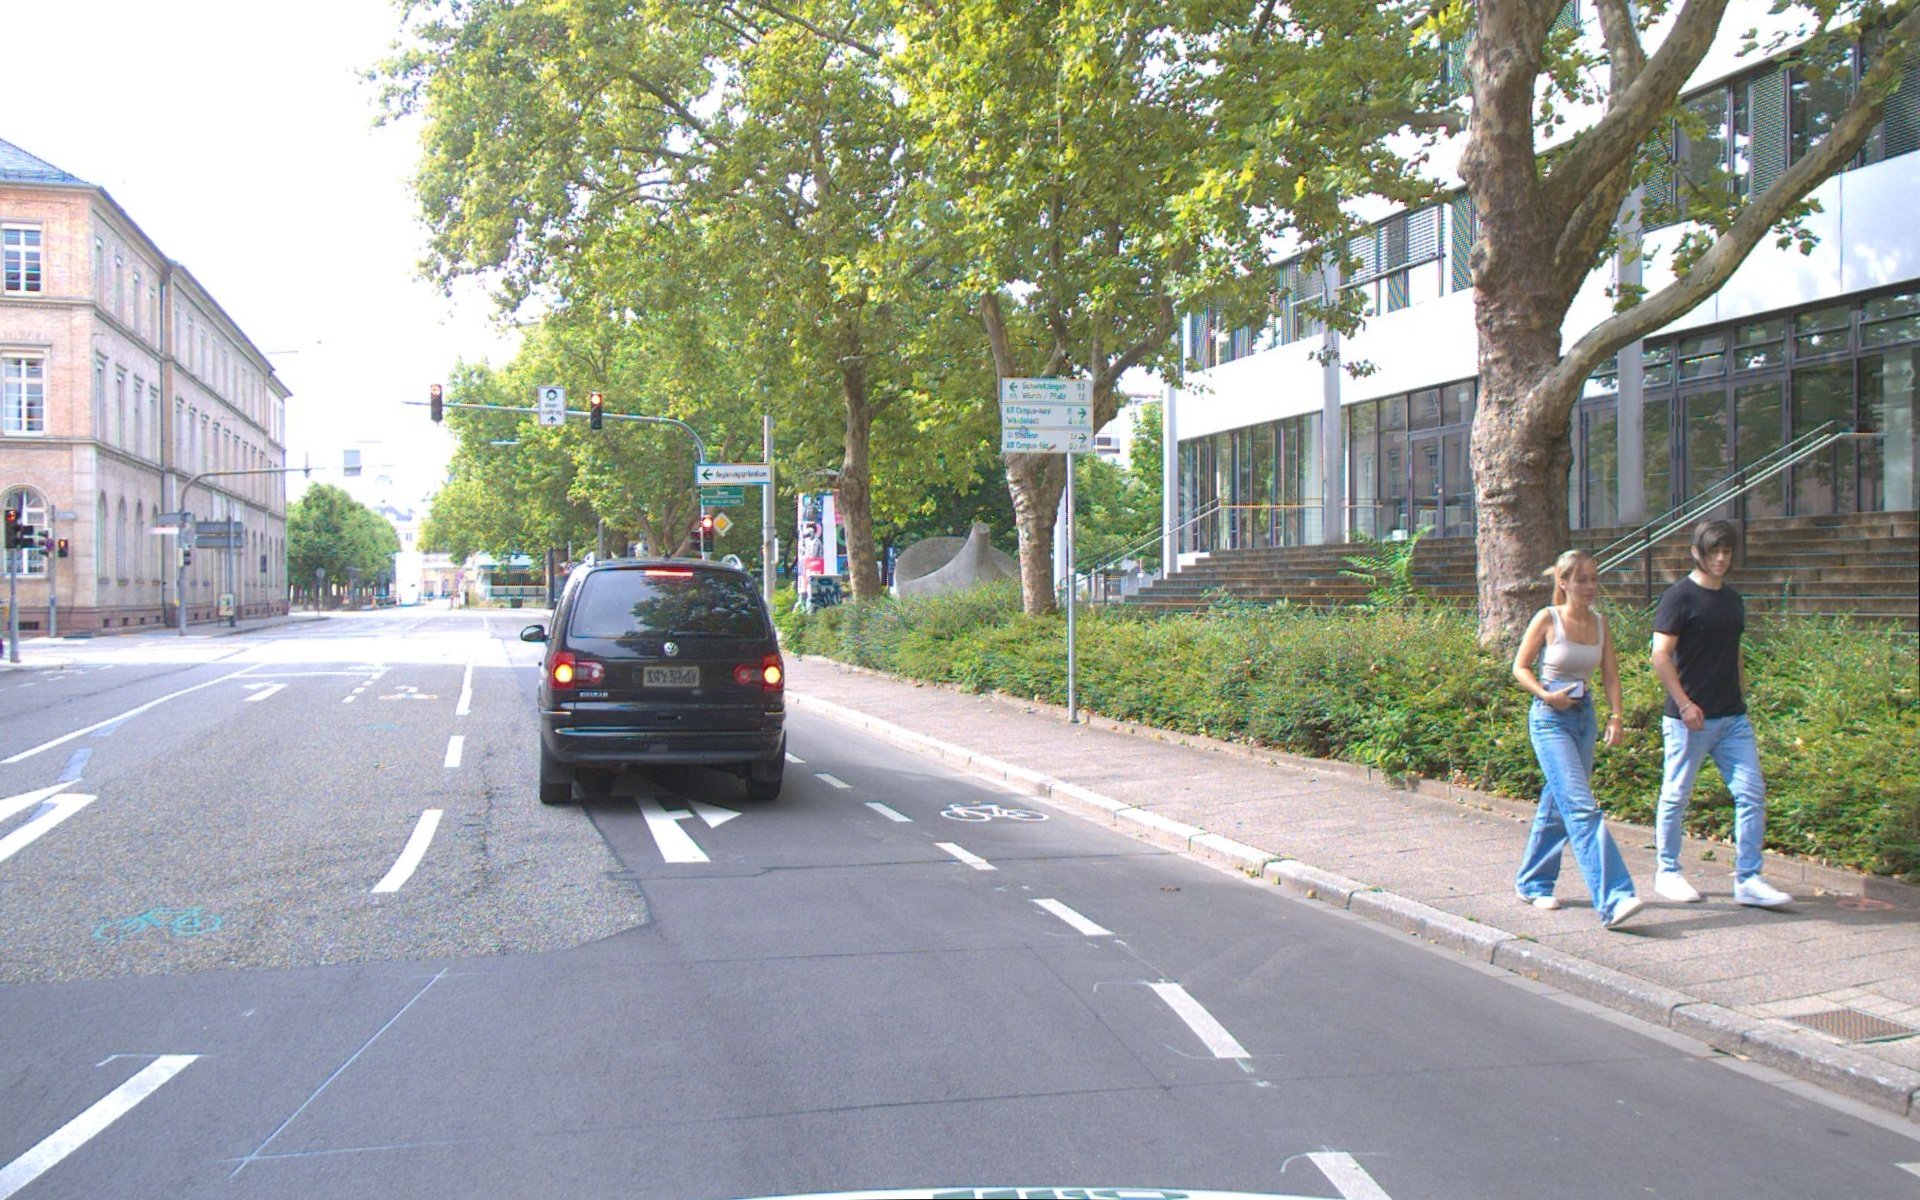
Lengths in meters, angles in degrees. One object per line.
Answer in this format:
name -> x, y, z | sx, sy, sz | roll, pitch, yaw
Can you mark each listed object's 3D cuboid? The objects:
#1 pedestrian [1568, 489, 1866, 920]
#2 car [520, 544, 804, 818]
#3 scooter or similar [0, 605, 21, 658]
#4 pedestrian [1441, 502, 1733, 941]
pedestrian -> 3.487, 0.442, 7.691 | 0.704, 1.831, 1.028 | -2, 0, -18
car -> -2.391, 0.500, 13.154 | 1.840, 1.775, 4.561 | 0, 1, -11
scooter or similar -> -21.329, 0.702, 37.012 | 0.372, 1.164, 1.135 | 0, -1, -20
pedestrian -> 2.807, 0.501, 7.493 | 0.700, 1.814, 1.028 | -2, 0, -18
